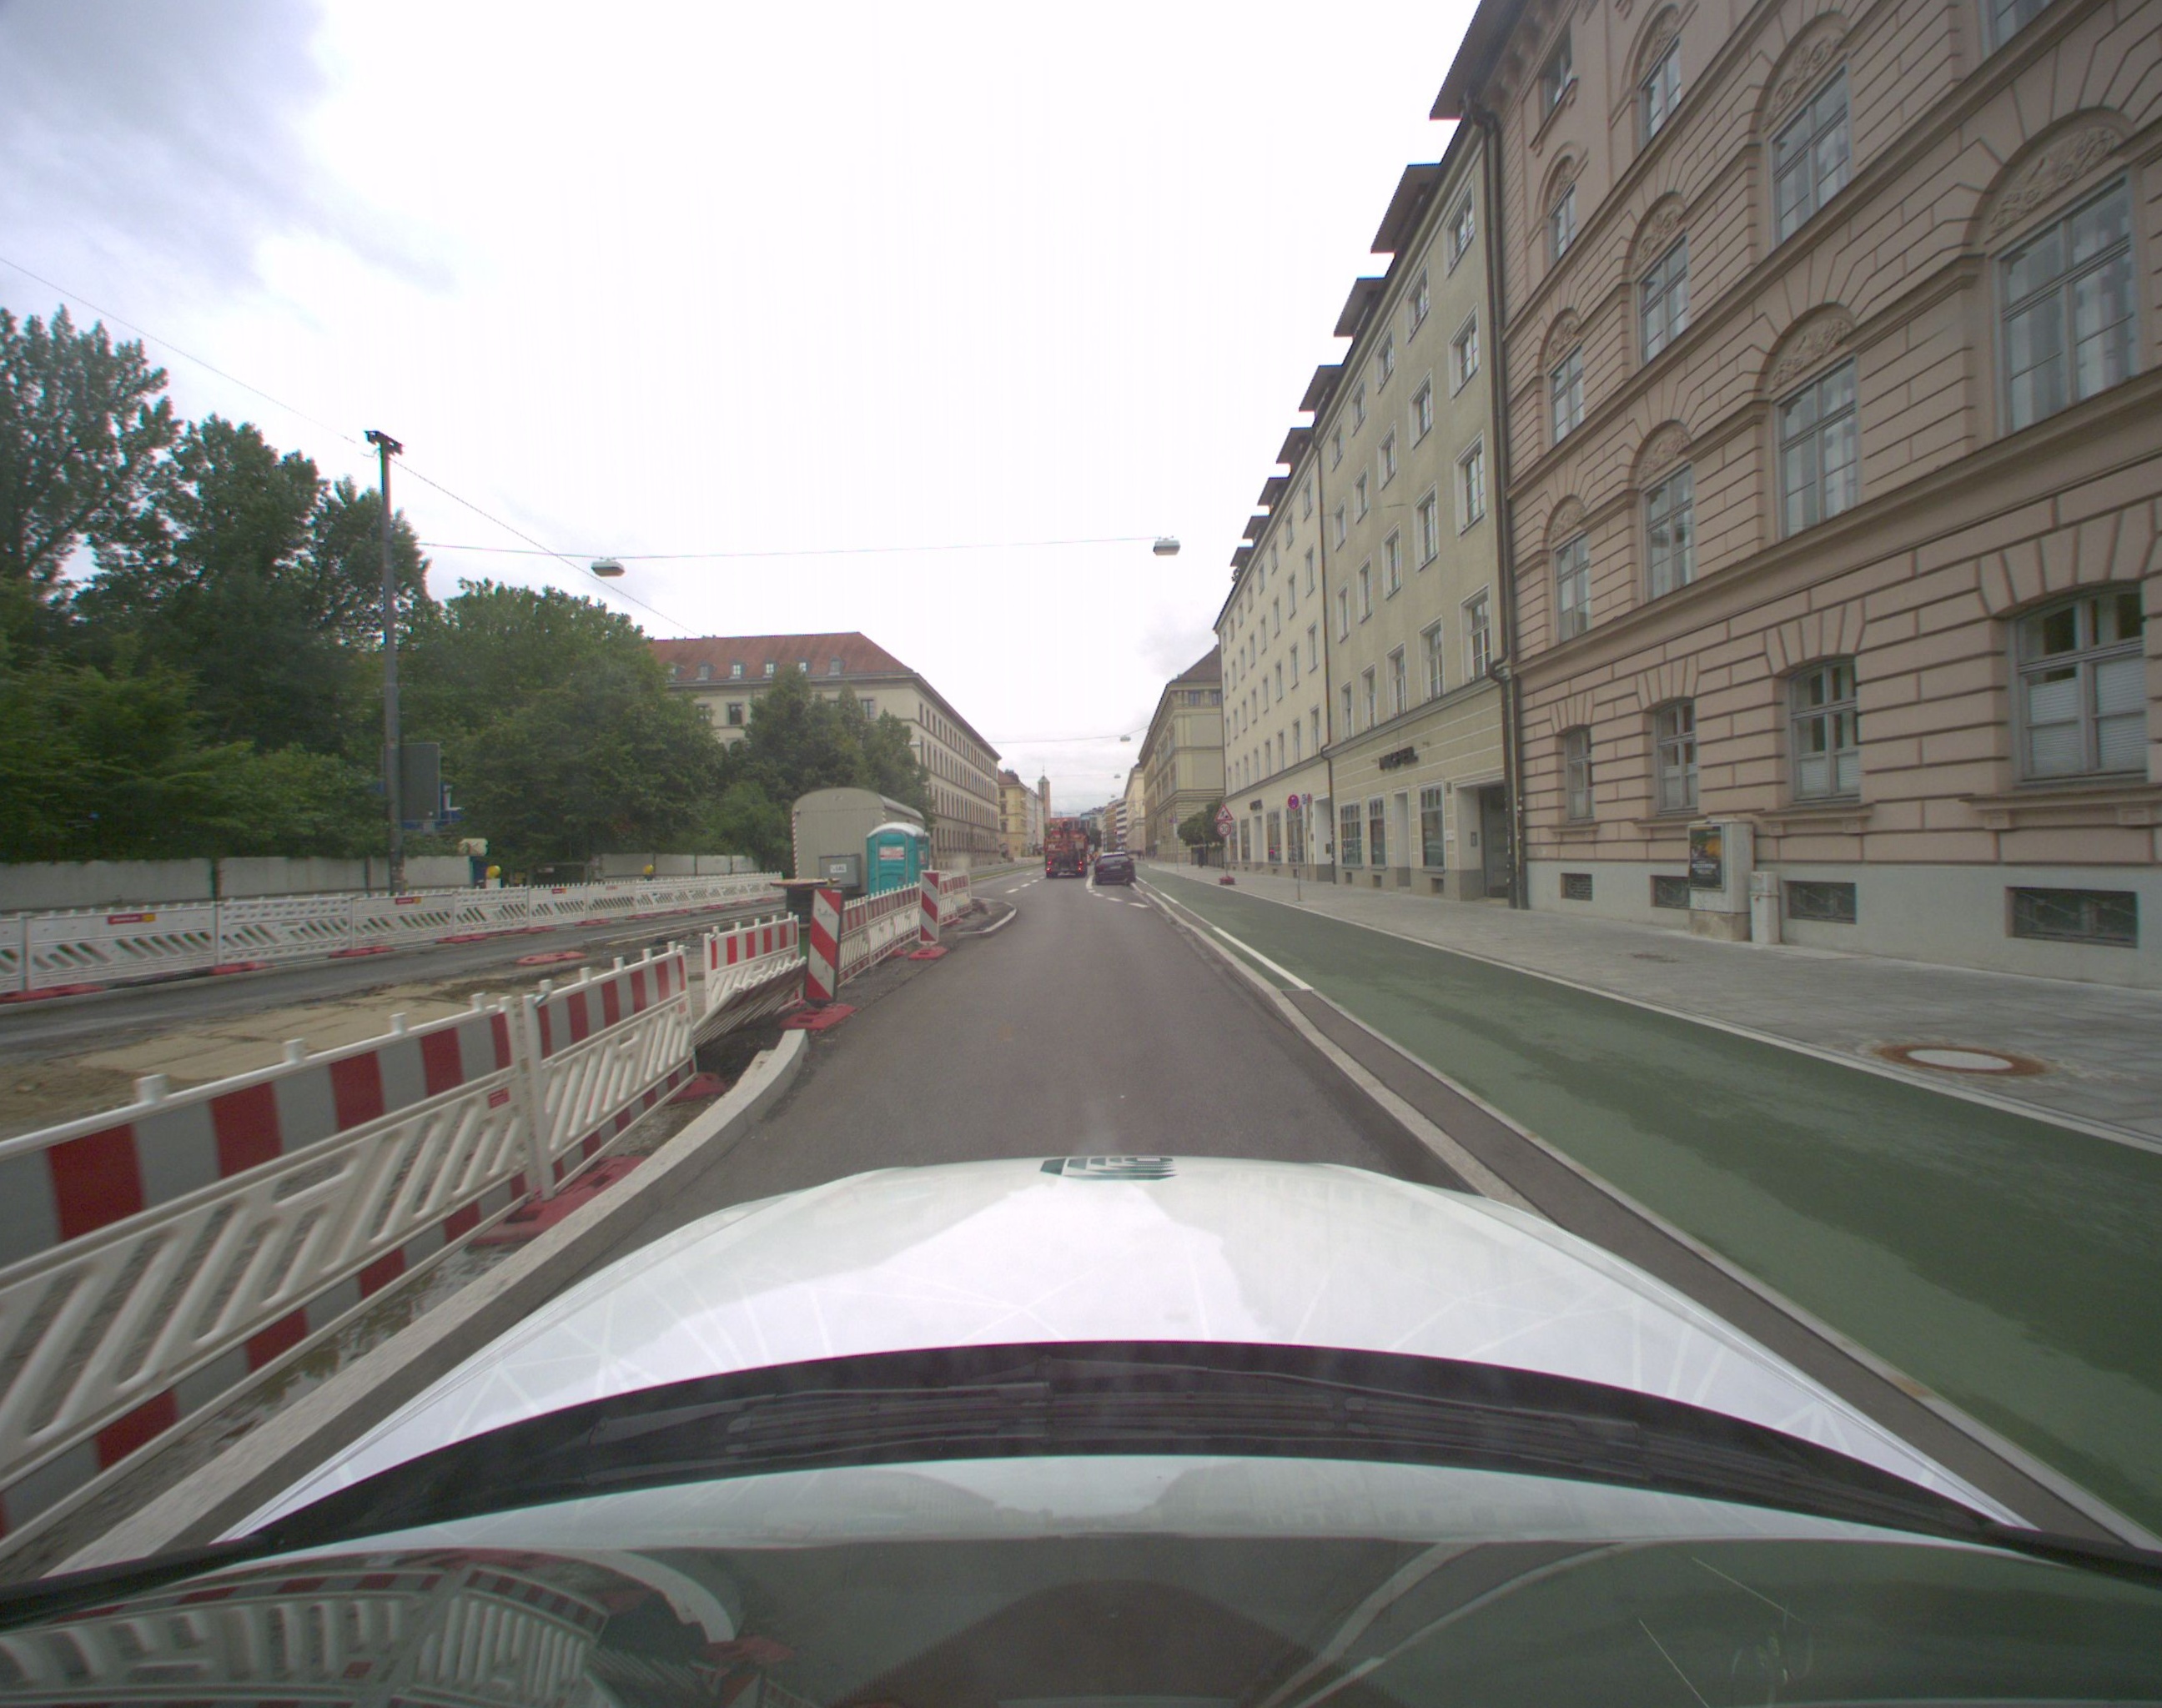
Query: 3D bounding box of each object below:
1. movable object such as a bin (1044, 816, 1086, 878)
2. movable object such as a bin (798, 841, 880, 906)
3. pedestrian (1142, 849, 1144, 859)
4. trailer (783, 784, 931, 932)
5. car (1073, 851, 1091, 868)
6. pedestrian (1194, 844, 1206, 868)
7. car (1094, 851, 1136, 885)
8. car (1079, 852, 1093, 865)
[{"bbox_3d":[-0.922,-0.405,51.088,2.415,3.611,5.851,-1,0,0],"label":"movable object such as a bin"},{"bbox_3d":[-10.297,0.756,35.030,1.916,2.572,4.495,-1,0,2],"label":"movable object such as a bin"},{"bbox_3d":[10.255,-0.016,134.615,0.336,1.672,0.440,-2,0,2],"label":"pedestrian"},{"bbox_3d":[-5.710,0.068,22.005,2.222,3.243,7.509,-2,0,-3],"label":"trailer"},{"bbox_3d":[0.120,0.535,75.844,1.604,1.495,3.425,-2,0,1],"label":"car"},{"bbox_3d":[9.167,0.150,62.778,0.787,1.836,0.777,-2,0,2],"label":"pedestrian"},{"bbox_3d":[1.589,0.612,39.065,1.796,1.480,4.687,-2,0,0],"label":"car"},{"bbox_3d":[0.632,0.524,97.694,1.604,1.495,3.425,-2,0,1],"label":"car"}]
